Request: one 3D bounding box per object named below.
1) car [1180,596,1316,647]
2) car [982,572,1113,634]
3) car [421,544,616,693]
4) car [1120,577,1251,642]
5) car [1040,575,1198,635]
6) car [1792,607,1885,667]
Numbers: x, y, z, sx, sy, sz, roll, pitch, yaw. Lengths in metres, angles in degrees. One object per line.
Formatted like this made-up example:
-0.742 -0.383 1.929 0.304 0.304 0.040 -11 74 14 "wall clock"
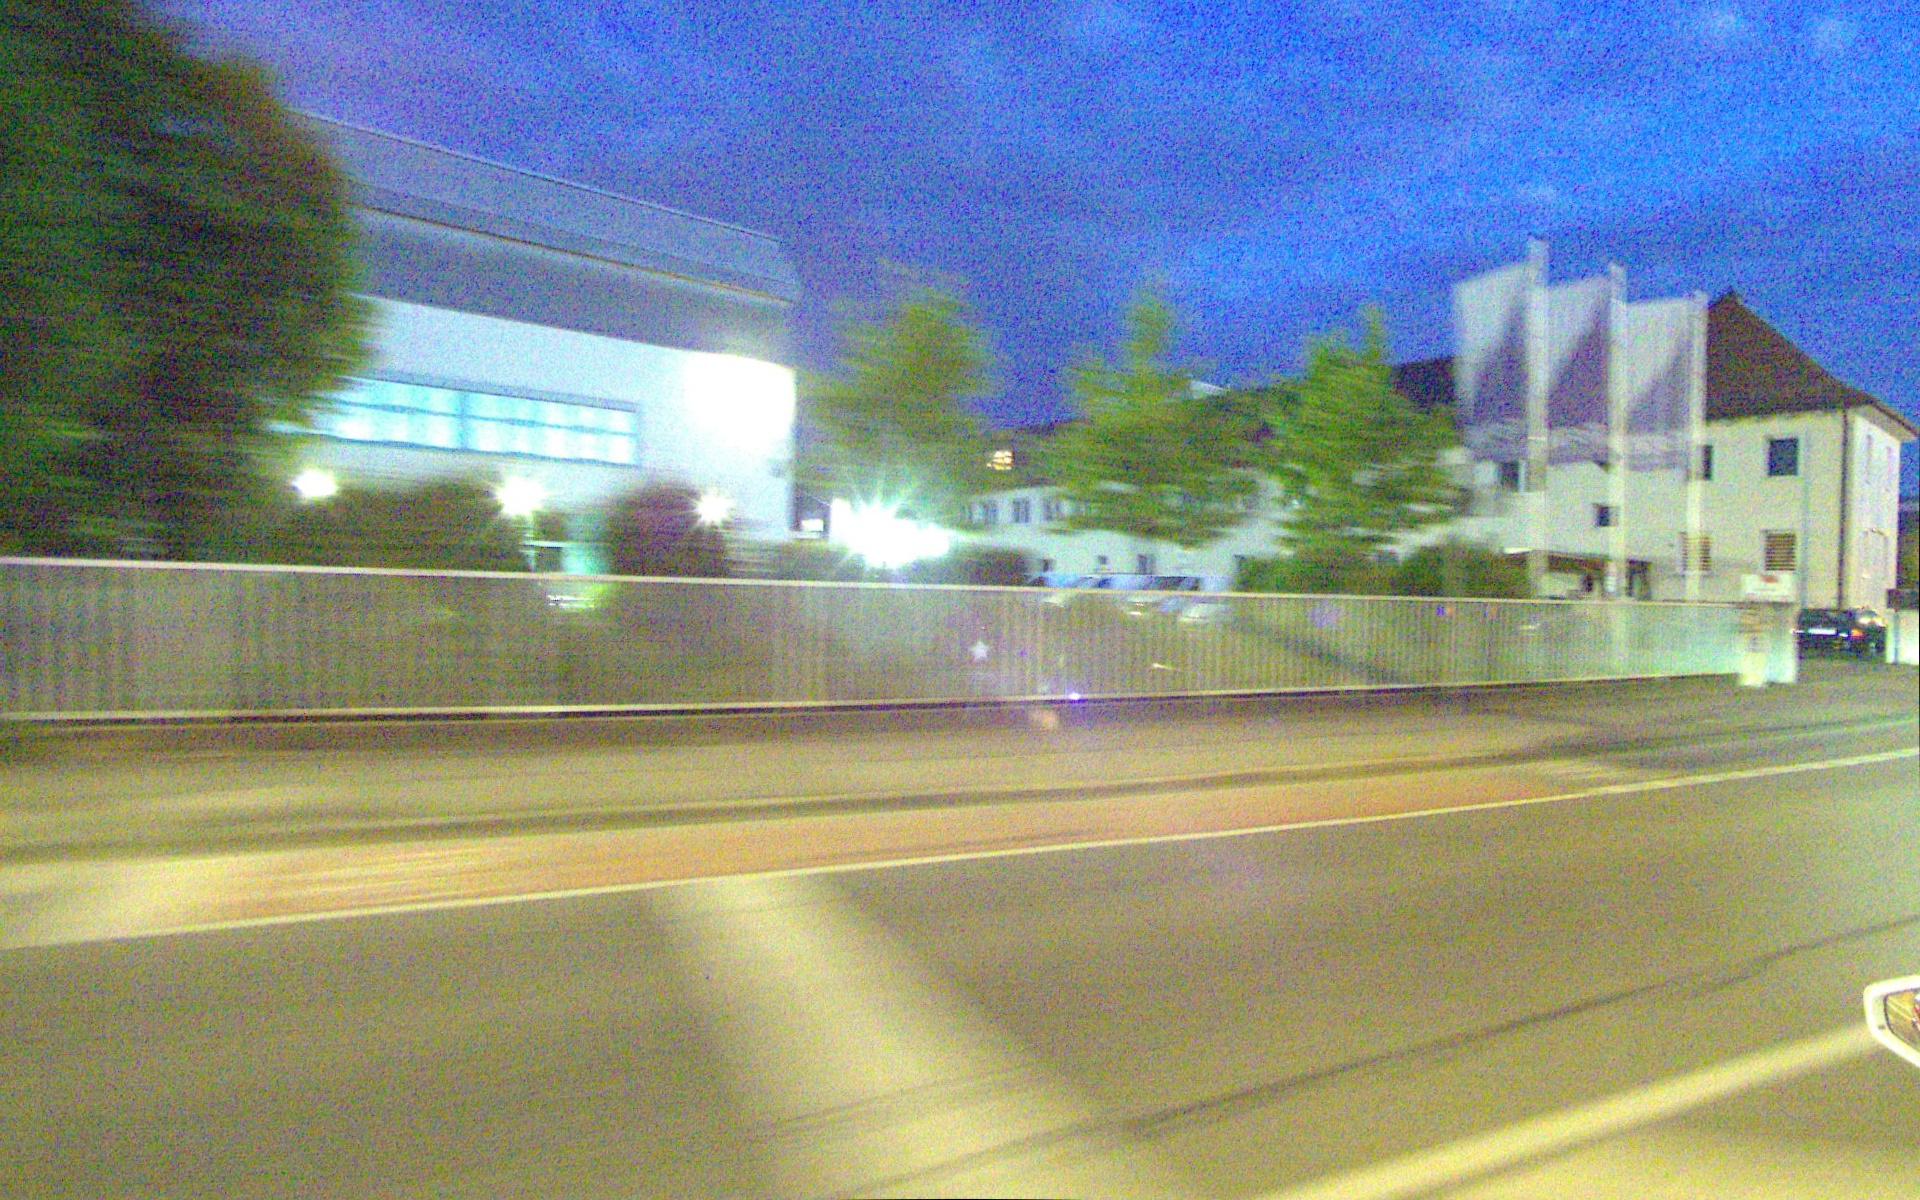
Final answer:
9.095 0.660 31.580 4.578 1.483 1.826 1 0 -39 "car"
3.493 0.145 39.386 5.370 2.265 2.002 1 0 -43 "car"
-6.452 0.227 14.408 1.978 1.795 4.104 2 0 -32 "car"
7.613 0.324 33.678 4.654 2.040 1.975 1 0 -43 "car"
5.828 0.189 36.697 5.334 2.031 2.244 1 0 -24 "car"
24.414 0.965 27.976 1.807 1.514 4.504 1 1 41 "car"
